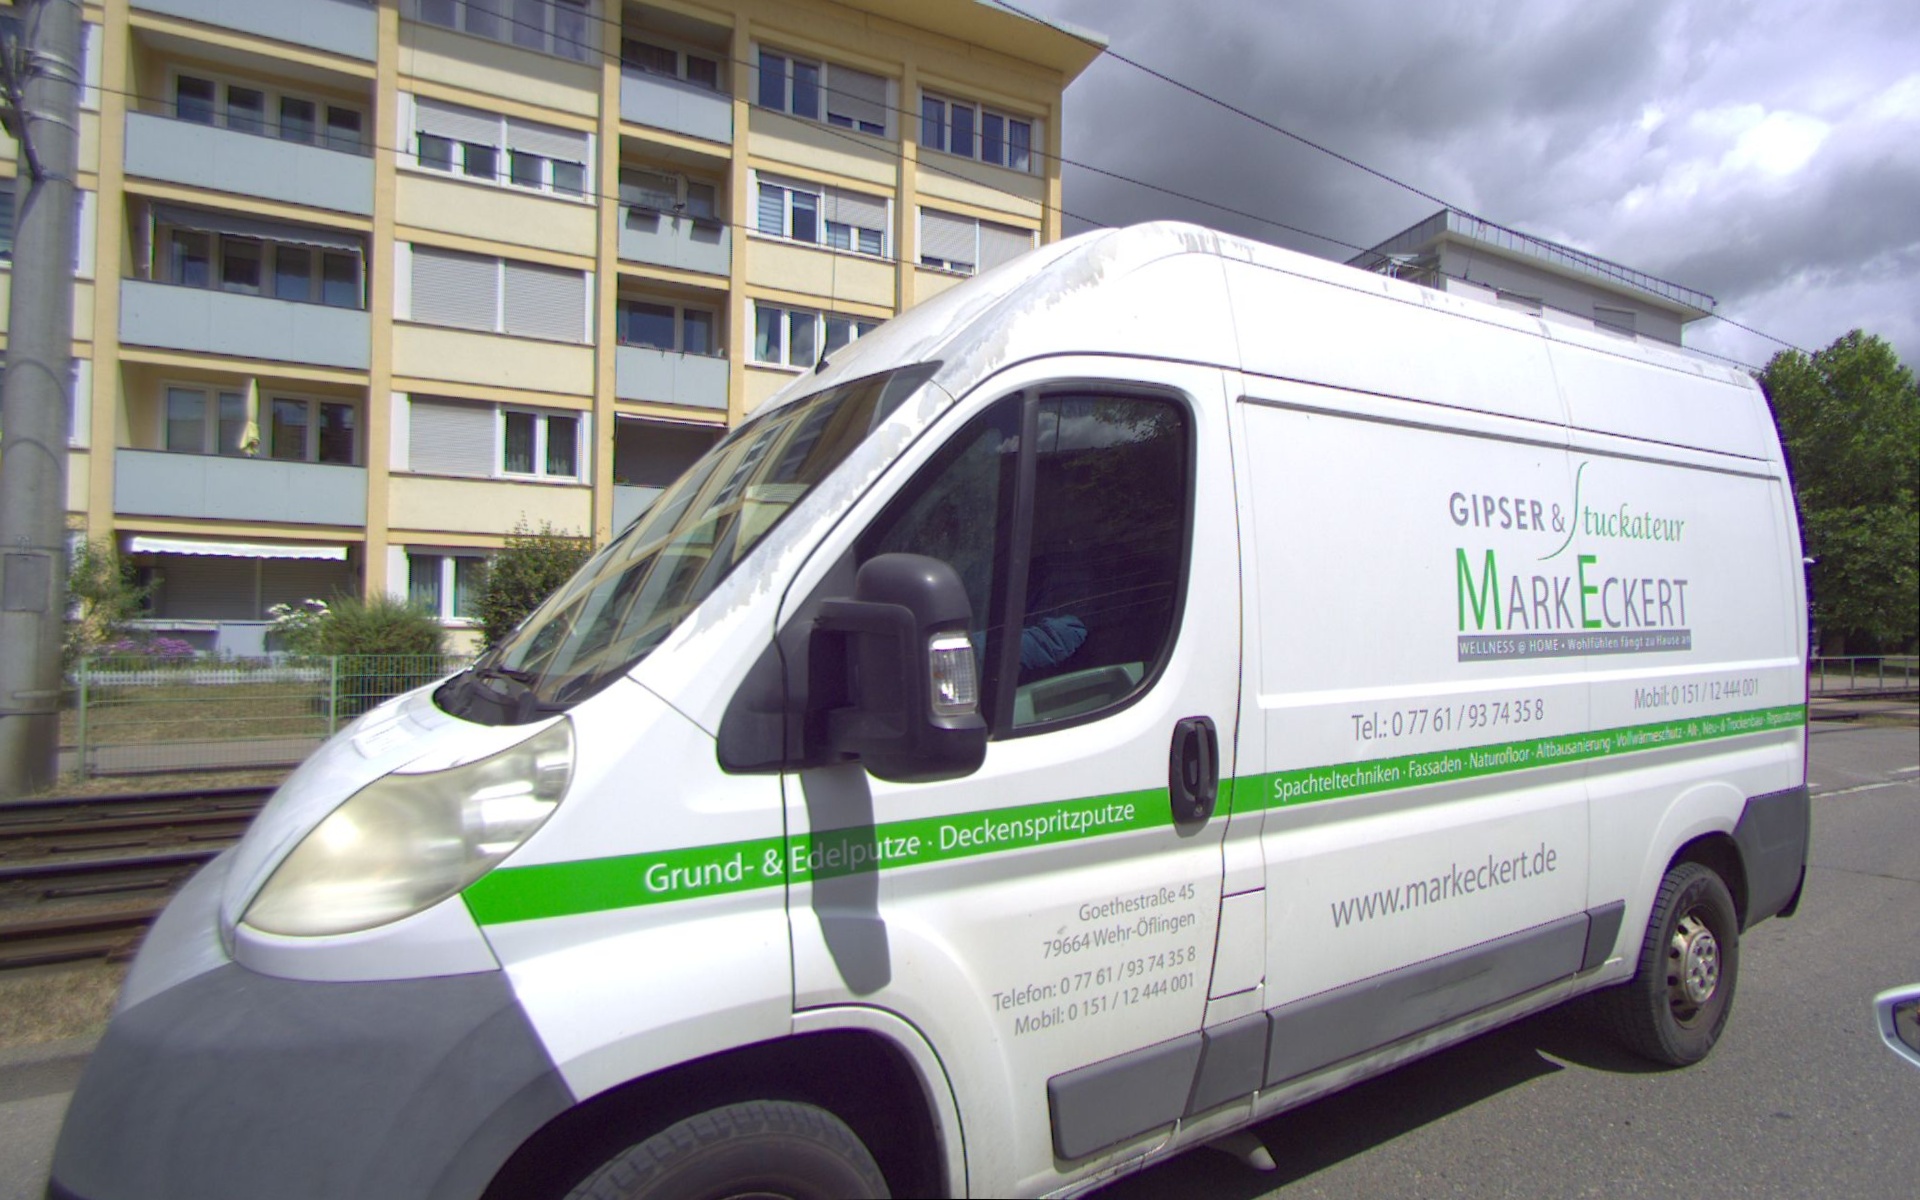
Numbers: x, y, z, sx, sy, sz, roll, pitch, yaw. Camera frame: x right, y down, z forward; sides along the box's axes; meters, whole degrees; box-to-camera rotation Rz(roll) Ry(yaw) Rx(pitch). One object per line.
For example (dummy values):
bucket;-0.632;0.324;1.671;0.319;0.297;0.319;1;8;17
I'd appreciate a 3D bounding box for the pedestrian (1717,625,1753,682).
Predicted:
pedestrian;23.796;1.624;30.845;0.671;1.715;0.643;2;-1;-28

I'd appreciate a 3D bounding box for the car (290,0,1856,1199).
car;0.754;0.244;3.516;5.030;2.507;2.219;2;-3;-32

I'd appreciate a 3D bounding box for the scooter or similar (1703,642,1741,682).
scooter or similar;23.103;1.872;30.460;0.880;1.178;0.606;2;-1;-28

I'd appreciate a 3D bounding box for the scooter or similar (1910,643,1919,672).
scooter or similar;37.843;2.250;39.405;0.811;1.130;0.601;2;-1;-30
